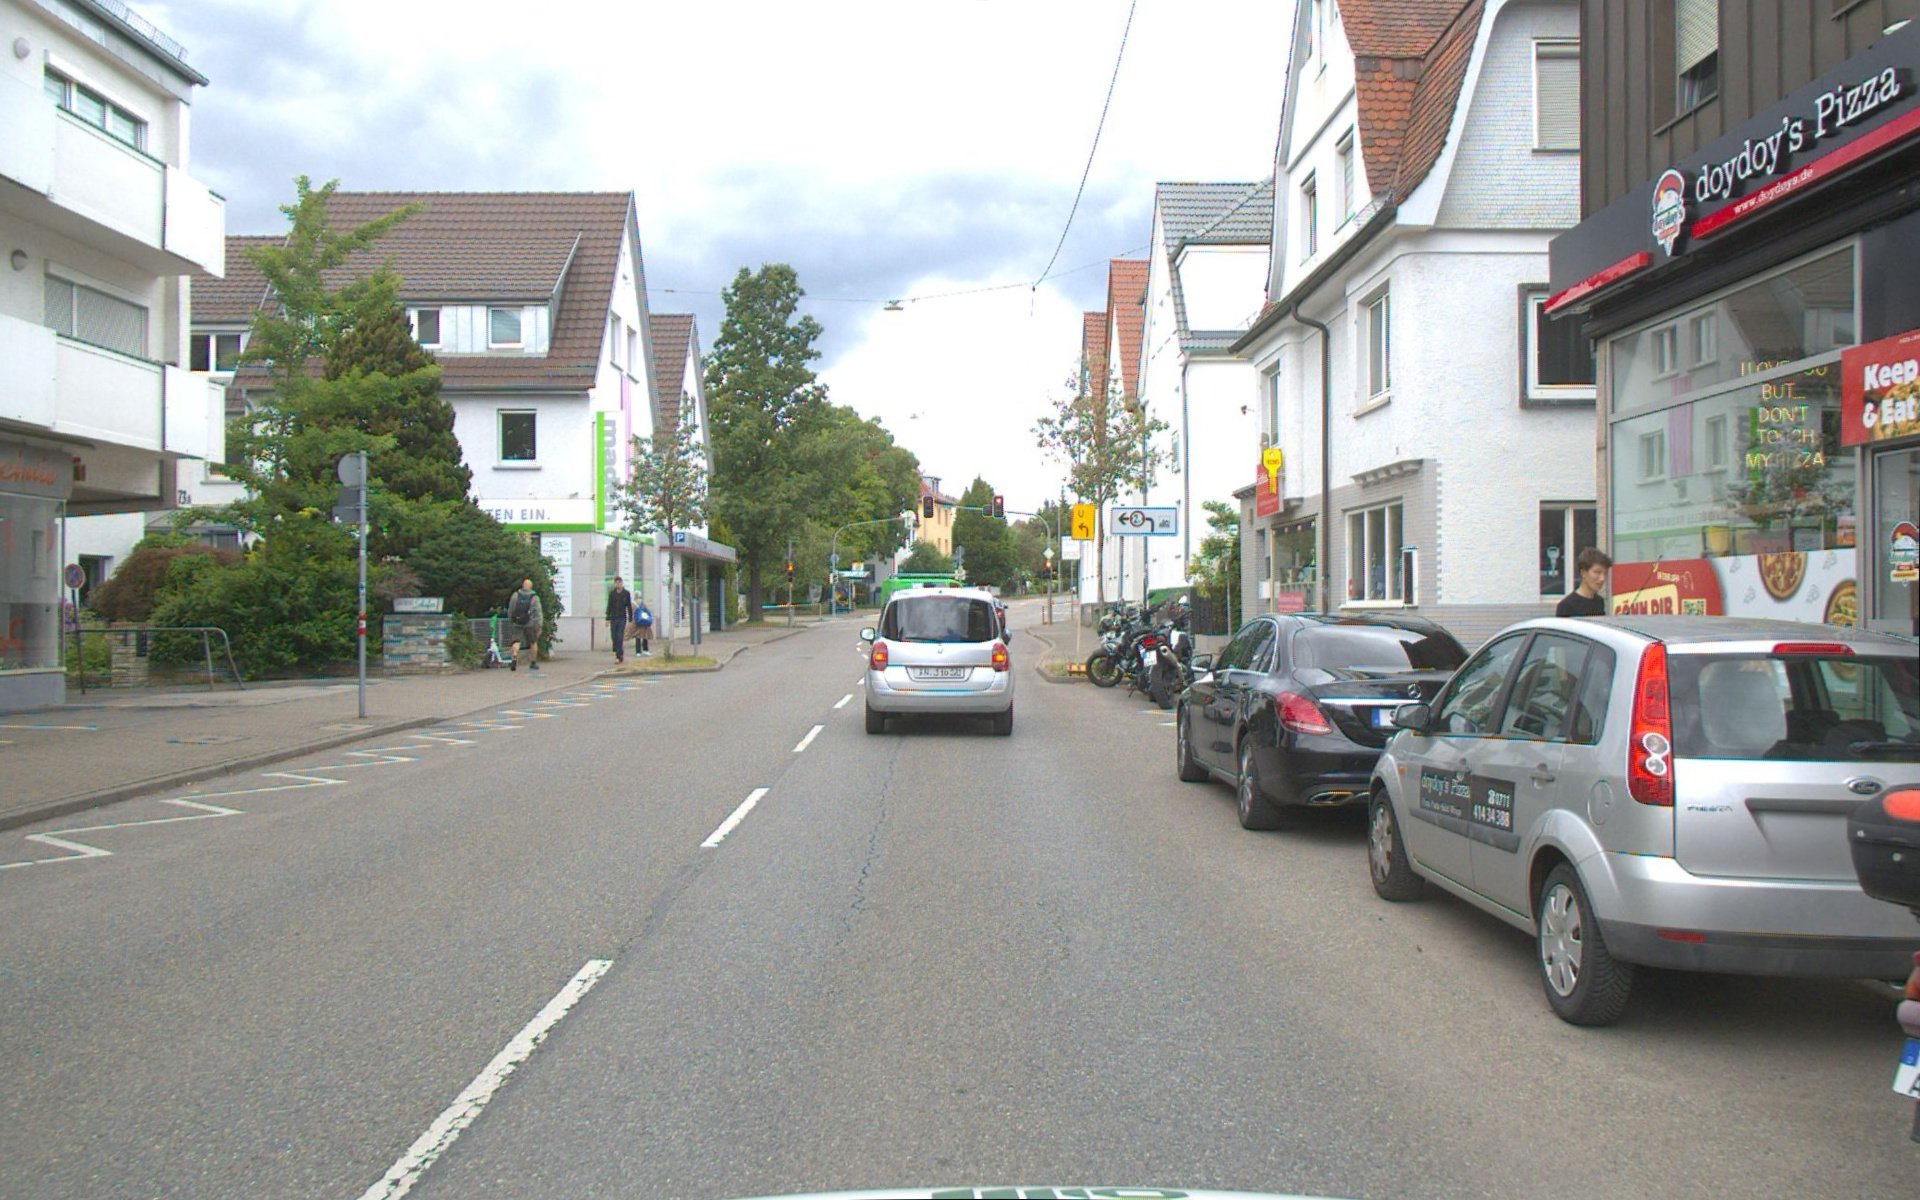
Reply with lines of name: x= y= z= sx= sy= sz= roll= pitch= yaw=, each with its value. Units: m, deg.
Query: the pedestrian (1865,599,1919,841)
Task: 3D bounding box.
pedestrian: x=5.721 y=0.643 z=9.093 sx=0.869 sy=1.322 sz=0.966 roll=-4 pitch=0 yaw=0

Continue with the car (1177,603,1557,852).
car: x=2.738 y=0.777 z=12.111 sx=1.666 sy=1.493 sz=4.238 roll=0 pitch=0 yaw=-1

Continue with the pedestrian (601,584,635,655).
pedestrian: x=-8.757 y=0.501 z=42.370 sx=0.702 sy=1.787 sz=0.695 roll=0 pitch=0 yaw=-1

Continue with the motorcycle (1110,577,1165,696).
motorcycle: x=2.648 y=0.519 z=24.478 sx=0.683 sy=1.667 sz=2.411 roll=0 pitch=0 yaw=9

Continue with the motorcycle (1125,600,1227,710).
motorcycle: x=3.035 y=0.726 z=22.998 sx=0.684 sy=1.434 sz=2.715 roll=0 pitch=0 yaw=23

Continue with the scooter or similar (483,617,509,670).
scooter or similar: x=-9.333 y=0.874 z=33.277 sx=0.366 sy=1.053 sz=0.559 roll=-1 pitch=0 yaw=-1

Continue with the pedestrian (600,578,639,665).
pedestrian: x=-7.552 y=0.473 z=36.684 sx=0.702 sy=1.909 sz=0.695 roll=0 pitch=0 yaw=-1

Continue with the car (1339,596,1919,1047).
car: x=2.987 y=0.724 z=7.304 sx=1.666 sy=1.455 sz=3.889 roll=0 pitch=0 yaw=-1

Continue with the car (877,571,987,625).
car: x=-1.591 y=-0.085 z=93.581 sx=5.855 sy=2.958 sz=2.236 roll=1 pitch=0 yaw=-26

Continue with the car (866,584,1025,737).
car: x=-0.152 y=0.640 z=19.407 sx=1.648 sy=1.593 sz=3.993 roll=1 pitch=0 yaw=0

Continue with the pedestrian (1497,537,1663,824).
pedestrian: x=4.410 y=0.554 z=11.823 sx=0.839 sy=1.961 sz=0.899 roll=0 pitch=0 yaw=-1

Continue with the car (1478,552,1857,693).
car: x=8.537 y=0.260 z=20.165 sx=3.899 sy=1.593 sz=1.688 roll=1 pitch=0 yaw=0

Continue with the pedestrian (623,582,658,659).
pedestrian: x=-8.045 y=0.518 z=41.687 sx=0.746 sy=1.909 sz=0.695 roll=0 pitch=0 yaw=-1

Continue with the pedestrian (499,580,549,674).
pedestrian: x=-8.613 y=0.525 z=32.677 sx=0.747 sy=1.823 sz=0.889 roll=0 pitch=0 yaw=-1

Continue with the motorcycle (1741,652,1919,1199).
motorcycle: x=3.090 y=0.815 z=4.156 sx=2.680 sy=1.359 sz=0.693 roll=1 pitch=0 yaw=-31

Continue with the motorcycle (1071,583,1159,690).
motorcycle: x=2.516 y=0.573 z=27.161 sx=0.686 sy=1.667 sz=2.400 roll=1 pitch=0 yaw=-14
